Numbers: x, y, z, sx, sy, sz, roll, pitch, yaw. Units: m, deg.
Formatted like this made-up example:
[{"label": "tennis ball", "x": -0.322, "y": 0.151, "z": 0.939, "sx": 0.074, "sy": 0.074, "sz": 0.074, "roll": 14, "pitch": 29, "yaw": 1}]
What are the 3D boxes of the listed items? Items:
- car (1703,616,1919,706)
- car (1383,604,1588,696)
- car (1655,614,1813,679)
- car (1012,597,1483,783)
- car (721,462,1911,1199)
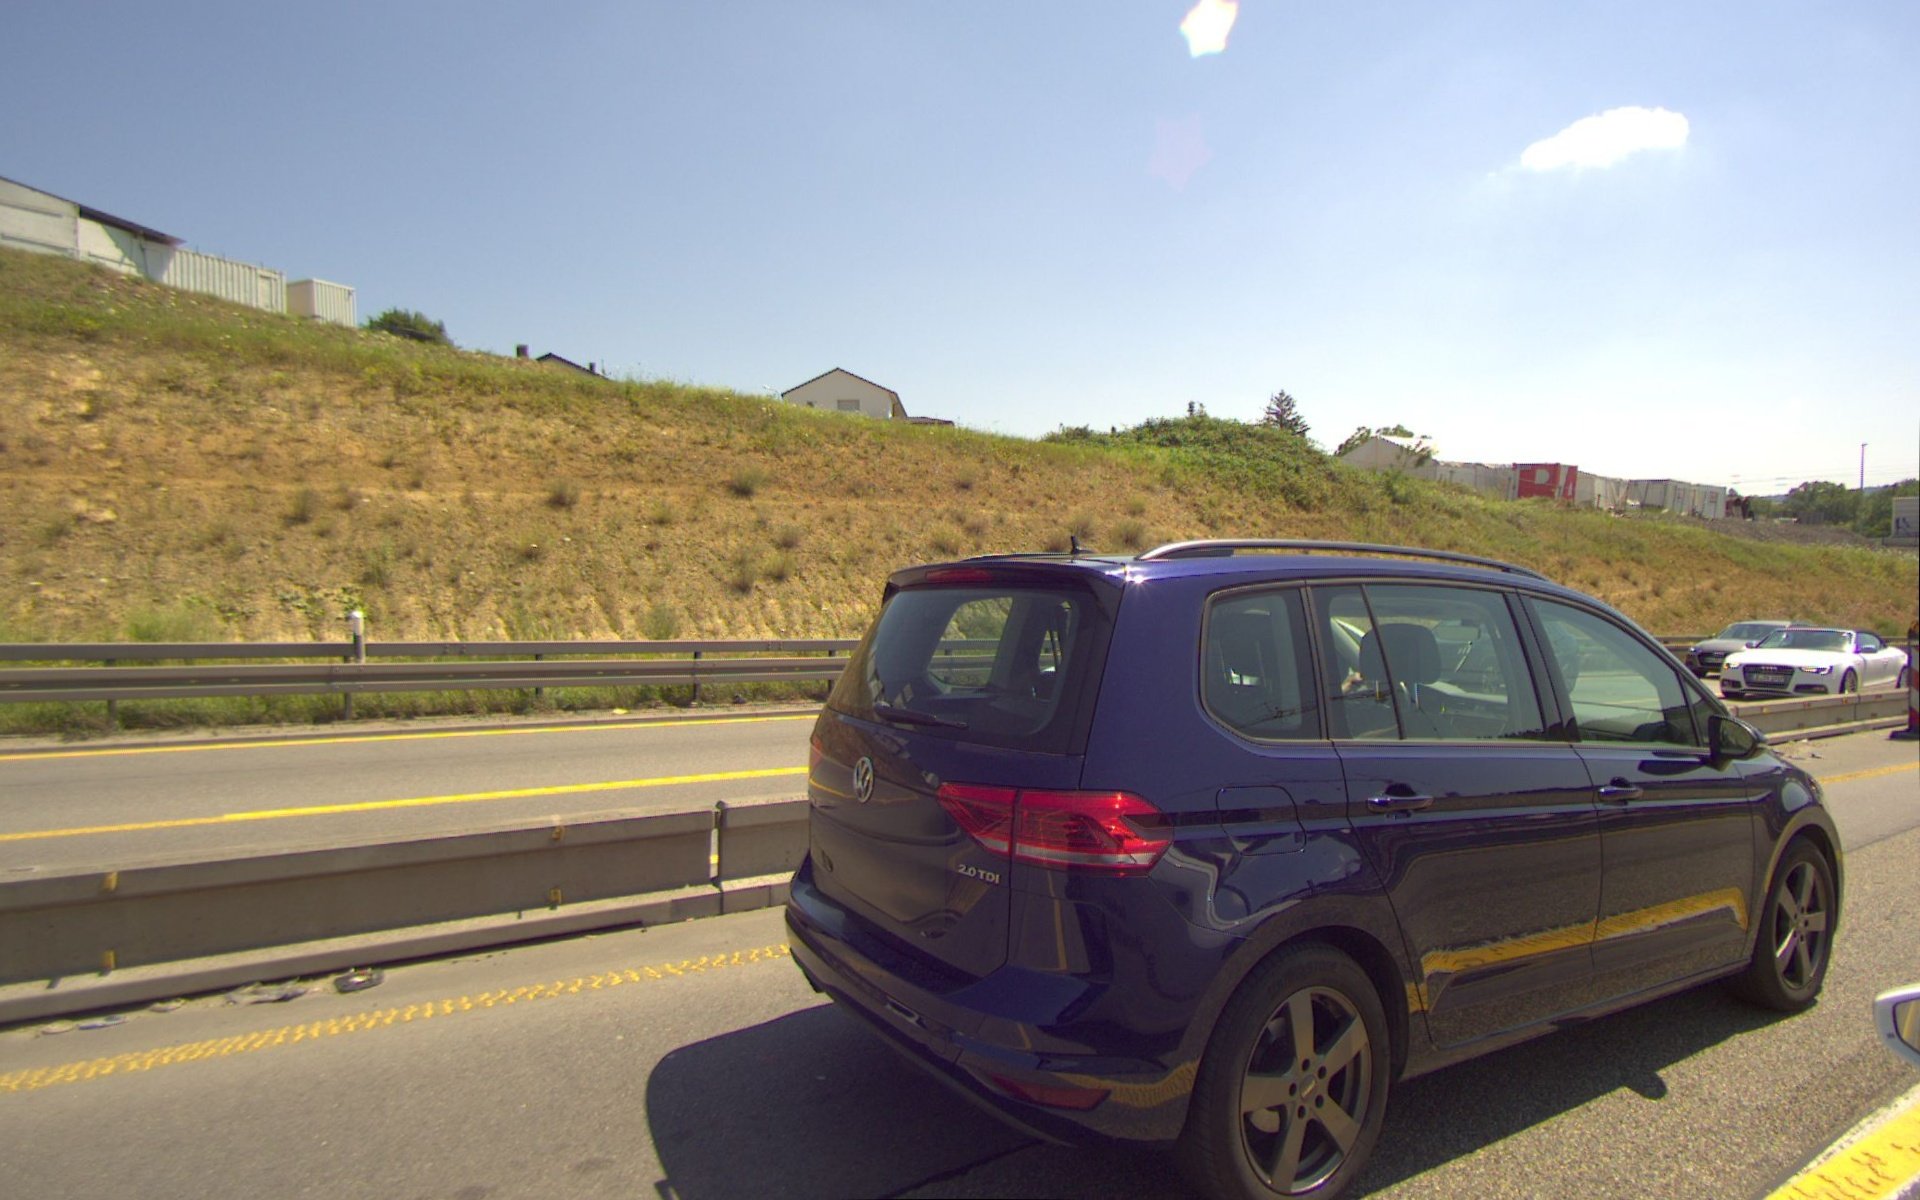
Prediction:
[{"label": "car", "x": 16.116, "y": 1.071, "z": 18.918, "sx": 4.583, "sy": 1.466, "sz": 1.791, "roll": 1, "pitch": 1, "yaw": -31}, {"label": "car", "x": 10.037, "y": 0.887, "z": 19.131, "sx": 3.956, "sy": 1.552, "sz": 1.684, "roll": 1, "pitch": 1, "yaw": -32}, {"label": "car", "x": 19.475, "y": 1.117, "z": 25.244, "sx": 4.080, "sy": 1.466, "sz": 1.756, "roll": 1, "pitch": 1, "yaw": -31}, {"label": "car", "x": 3.083, "y": 0.753, "z": 10.349, "sx": 4.887, "sy": 1.483, "sz": 1.950, "roll": 1, "pitch": 1, "yaw": -33}, {"label": "car", "x": 1.609, "y": 0.591, "z": 3.804, "sx": 4.599, "sy": 1.741, "sz": 1.766, "roll": 0, "pitch": 1, "yaw": -32}]
